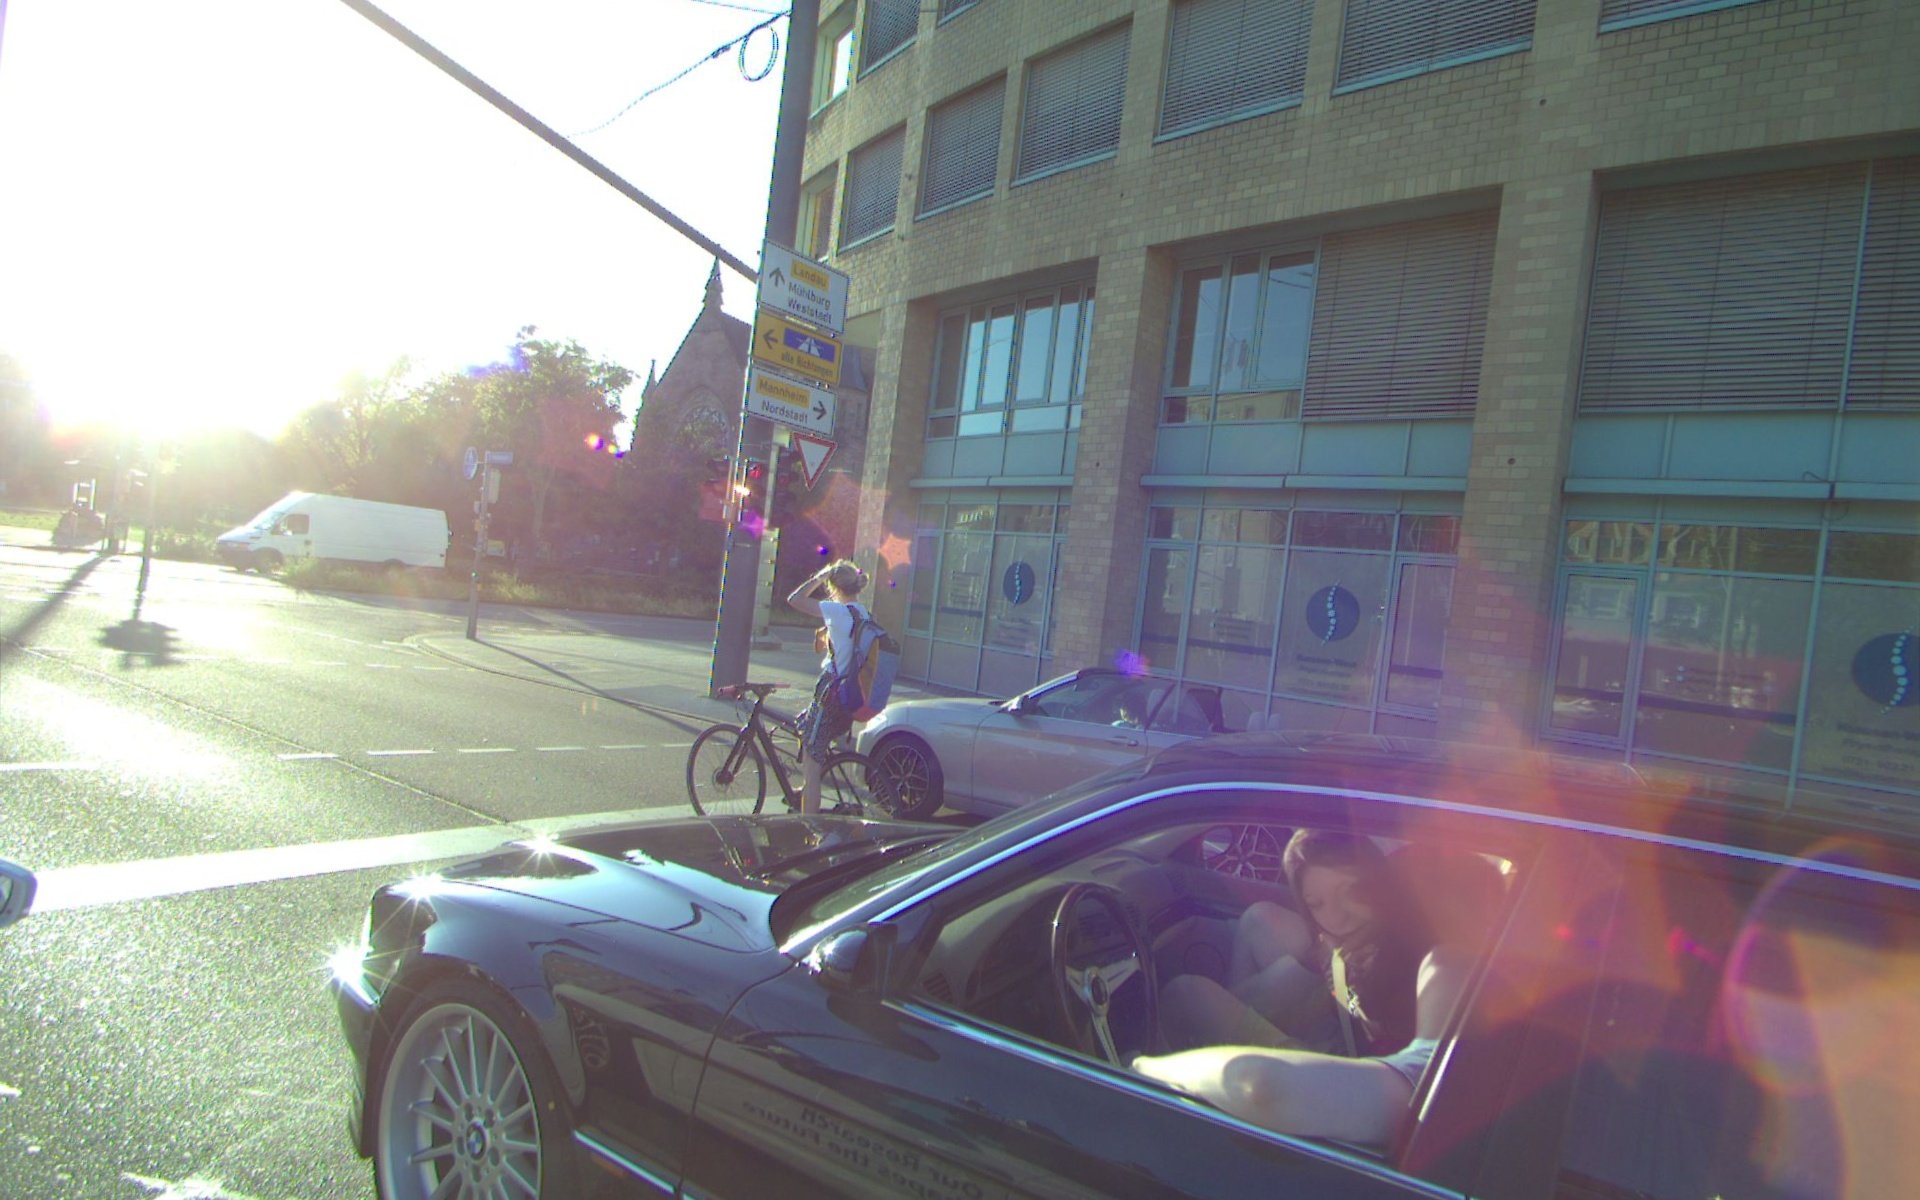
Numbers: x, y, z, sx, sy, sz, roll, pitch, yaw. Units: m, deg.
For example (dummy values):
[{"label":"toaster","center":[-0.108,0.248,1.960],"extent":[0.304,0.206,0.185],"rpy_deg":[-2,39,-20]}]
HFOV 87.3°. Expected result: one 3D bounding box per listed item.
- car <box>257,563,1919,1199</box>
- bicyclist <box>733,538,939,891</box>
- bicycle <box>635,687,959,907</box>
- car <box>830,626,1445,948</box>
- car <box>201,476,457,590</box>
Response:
[{"label":"car","center":[0.894,0.934,2.004],"extent":[4.661,1.402,1.997],"rpy_deg":[7,-1,32]},{"label":"bicyclist","center":[-0.711,0.625,5.840],"extent":[0.764,1.843,0.634],"rpy_deg":[7,1,30]},{"label":"bicycle","center":[-1.001,1.091,5.988],"extent":[1.838,0.884,0.634],"rpy_deg":[7,0,30]},{"label":"car","center":[1.250,1.197,7.680],"extent":[4.157,1.401,1.747],"rpy_deg":[7,-1,31]},{"label":"car","center":[-21.286,-2.153,34.411],"extent":[2.059,2.862,7.017],"rpy_deg":[7,0,33]}]
